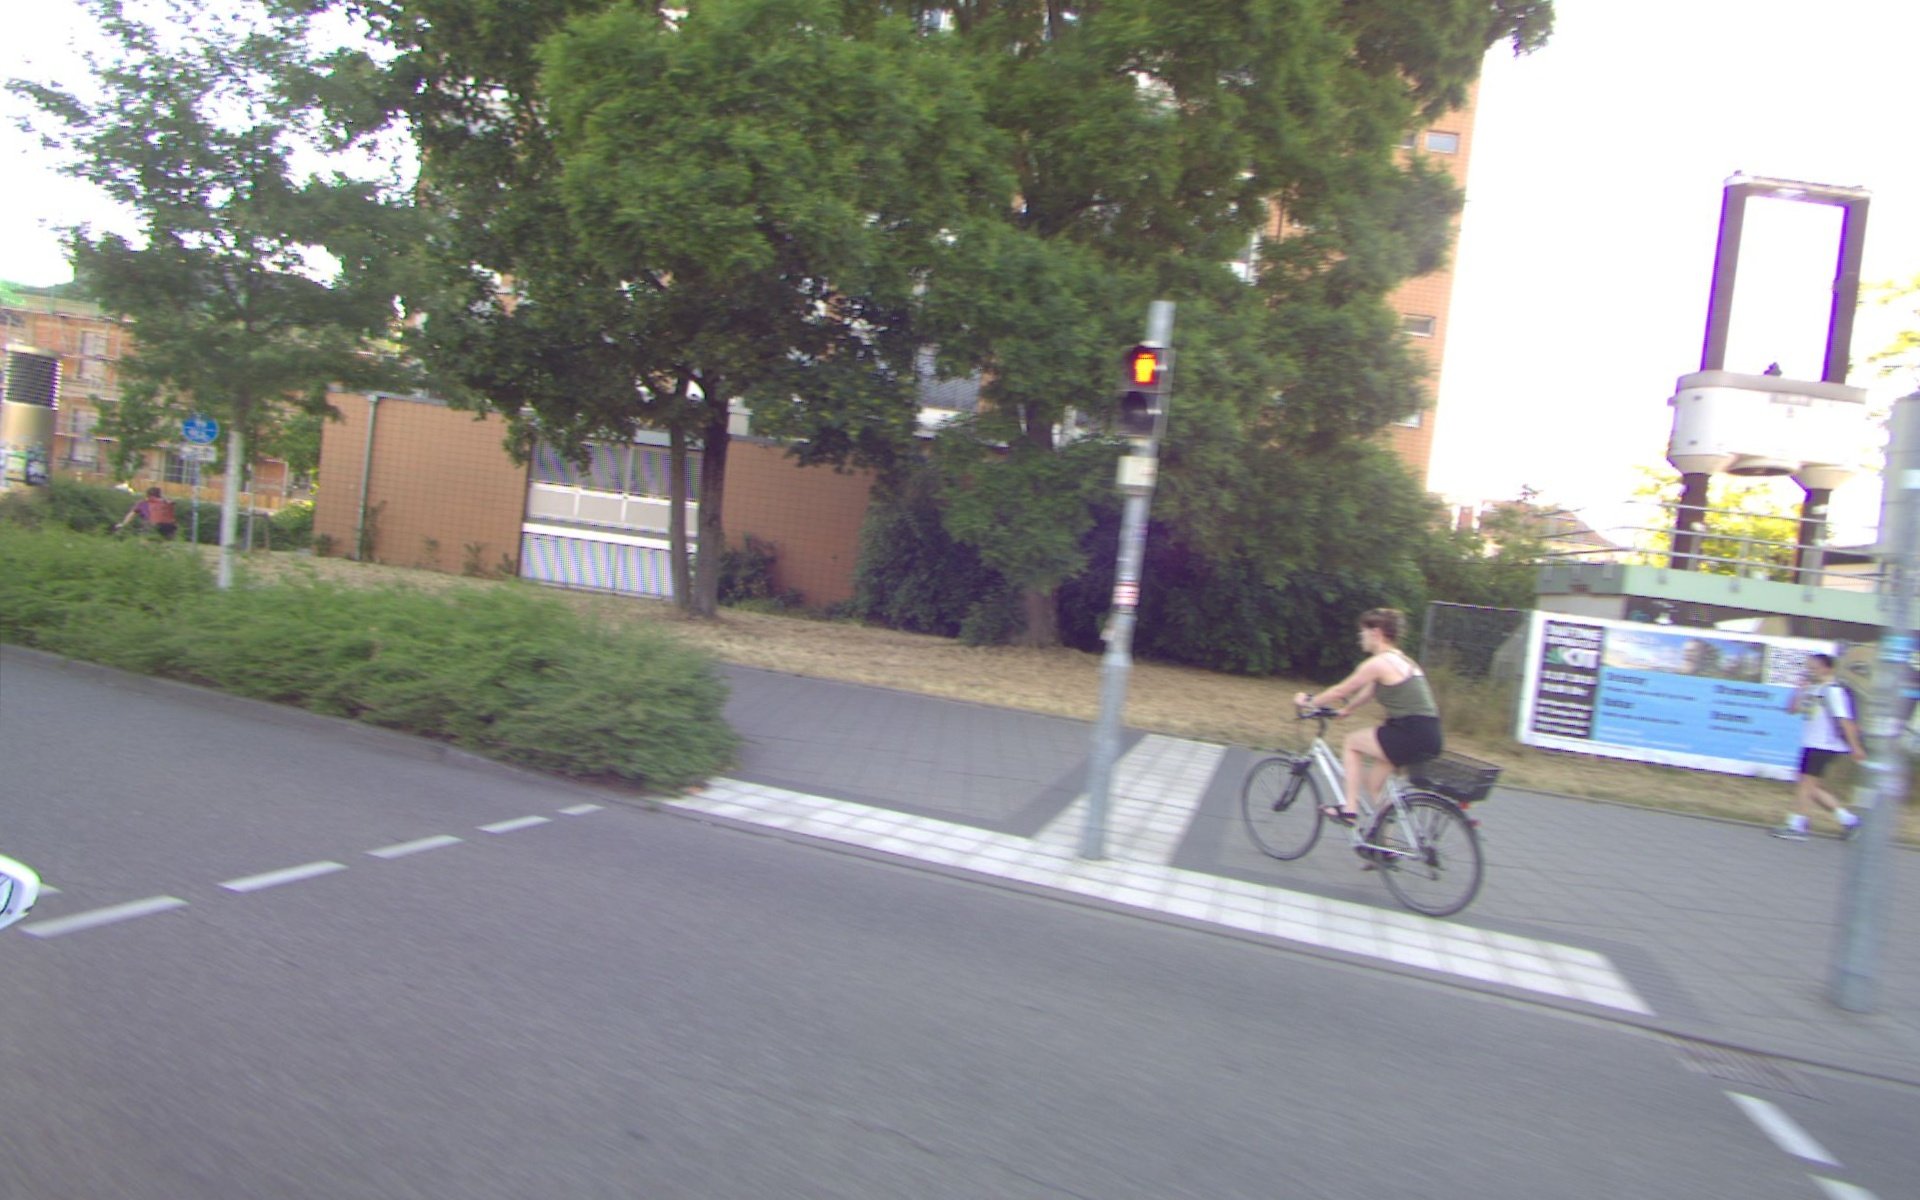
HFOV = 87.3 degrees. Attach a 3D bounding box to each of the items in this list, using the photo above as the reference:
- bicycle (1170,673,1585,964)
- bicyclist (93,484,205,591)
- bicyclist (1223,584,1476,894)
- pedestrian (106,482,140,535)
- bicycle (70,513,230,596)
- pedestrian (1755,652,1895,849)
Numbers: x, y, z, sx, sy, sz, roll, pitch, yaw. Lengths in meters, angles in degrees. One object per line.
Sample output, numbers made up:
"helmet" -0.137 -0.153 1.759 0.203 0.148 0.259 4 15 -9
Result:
"bicycle" 2.456 1.212 6.309 0.772 1.172 2.270 3 4 -33
"bicyclist" -11.793 -0.905 14.638 1.056 1.401 0.722 6 0 21
"bicyclist" 2.432 0.814 6.373 0.772 1.700 1.083 3 4 -33
"pedestrian" -28.661 -3.119 34.453 0.720 1.678 0.710 9 -1 -39
"bicycle" -11.781 -0.668 14.624 2.208 0.964 0.722 6 -1 21
"pedestrian" 8.177 1.392 9.543 0.618 1.721 0.622 7 2 14
